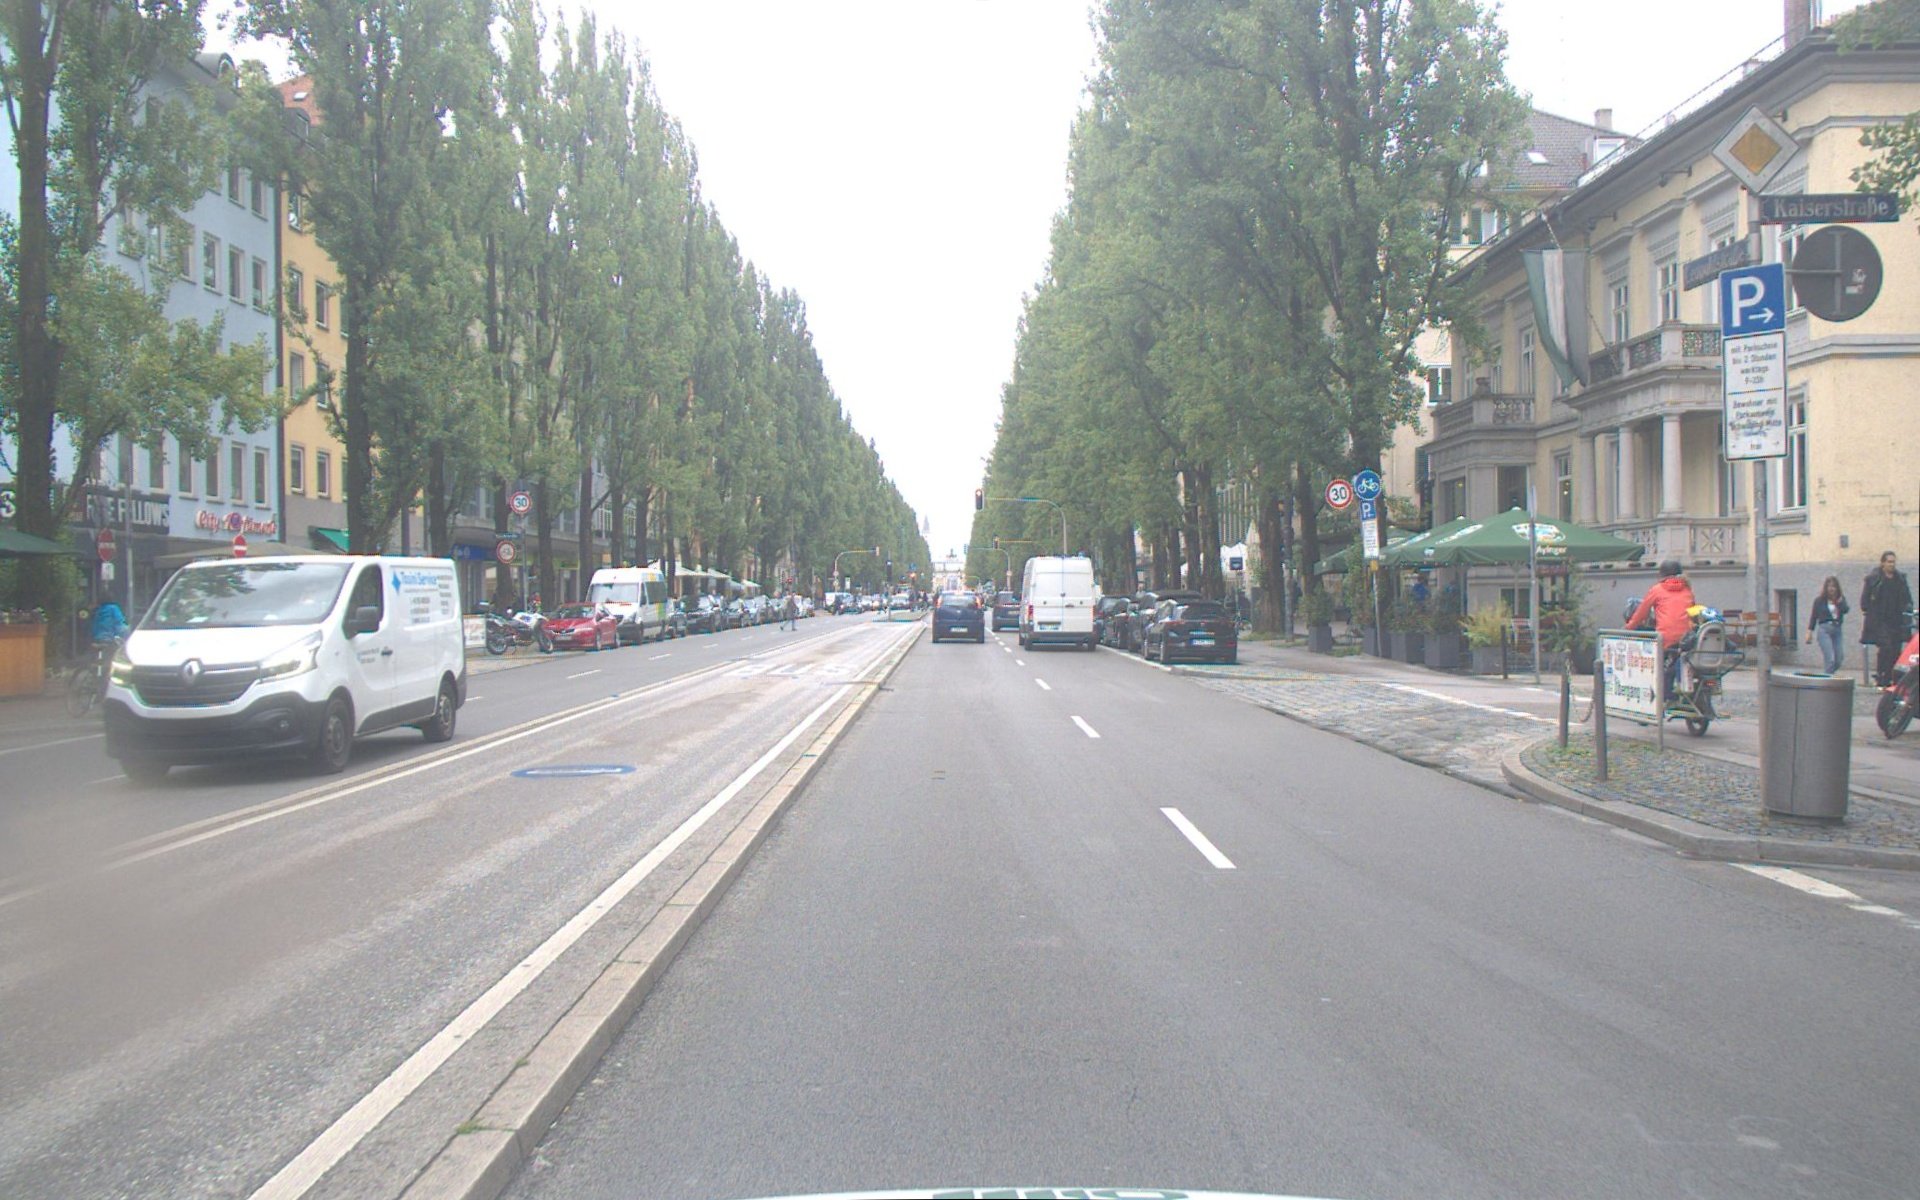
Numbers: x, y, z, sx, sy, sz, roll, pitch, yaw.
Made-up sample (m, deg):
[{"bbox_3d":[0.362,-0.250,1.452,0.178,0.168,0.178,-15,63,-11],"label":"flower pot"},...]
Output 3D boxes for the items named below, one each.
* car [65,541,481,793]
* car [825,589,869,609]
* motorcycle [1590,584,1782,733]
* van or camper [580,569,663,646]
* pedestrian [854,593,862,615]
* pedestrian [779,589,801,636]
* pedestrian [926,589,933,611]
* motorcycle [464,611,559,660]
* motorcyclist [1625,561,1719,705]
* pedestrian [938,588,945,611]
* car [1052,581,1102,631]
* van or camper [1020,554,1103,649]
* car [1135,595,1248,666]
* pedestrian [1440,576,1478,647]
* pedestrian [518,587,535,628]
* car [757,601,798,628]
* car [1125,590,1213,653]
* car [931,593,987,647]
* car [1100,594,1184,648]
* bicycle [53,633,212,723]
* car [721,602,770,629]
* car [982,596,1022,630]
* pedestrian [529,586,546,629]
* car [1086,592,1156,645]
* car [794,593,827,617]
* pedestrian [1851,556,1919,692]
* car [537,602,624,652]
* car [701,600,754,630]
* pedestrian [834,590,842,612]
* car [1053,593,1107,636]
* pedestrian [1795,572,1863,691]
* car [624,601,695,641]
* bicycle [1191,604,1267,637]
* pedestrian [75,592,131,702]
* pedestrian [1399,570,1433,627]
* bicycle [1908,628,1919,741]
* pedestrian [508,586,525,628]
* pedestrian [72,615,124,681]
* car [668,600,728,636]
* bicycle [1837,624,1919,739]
[{"bbox_3d":[-6.353,0.566,16.041,1.953,1.967,4.917,-3,0,-1],"label":"car"},{"bbox_3d":[-10.362,-0.090,151.303,3.913,1.775,1.996,0,-1,-9],"label":"car"},{"bbox_3d":[7.373,0.556,16.943,0.810,1.394,2.250,-2,0,-4],"label":"motorcycle"},{"bbox_3d":[-11.468,0.230,56.306,1.953,2.501,4.250,-1,0,-1],"label":"van or camper"},{"bbox_3d":[-7.972,0.325,129.375,0.542,1.746,0.493,-2,0,0],"label":"pedestrian"},{"bbox_3d":[-7.533,0.542,73.315,0.792,2.049,0.720,-1,0,6],"label":"pedestrian"},{"bbox_3d":[-2.397,0.004,130.044,0.542,1.746,0.493,-2,0,0],"label":"pedestrian"},{"bbox_3d":[-11.668,0.911,43.260,1.212,1.160,3.719,-1,0,4],"label":"motorcycle"},{"bbox_3d":[7.314,0.332,17.015,0.553,1.431,0.765,-2,0,-4],"label":"motorcyclist"},{"bbox_3d":[-1.483,-0.042,131.241,0.542,1.746,0.493,-2,0,0],"label":"pedestrian"},{"bbox_3d":[4.941,0.266,70.321,1.768,2.027,3.999,0,-1,-1],"label":"car"},{"bbox_3d":[2.791,0.076,46.459,1.993,2.519,3.999,-1,-1,-1],"label":"van or camper"},{"bbox_3d":[5.257,0.648,38.008,1.904,1.493,3.999,-1,0,-2],"label":"car"},{"bbox_3d":[13.439,0.296,44.571,0.745,1.886,0.740,-1,0,-4],"label":"pedestrian"},{"bbox_3d":[-20.241,0.355,77.245,0.570,1.889,0.675,-1,0,-1],"label":"pedestrian"},{"bbox_3d":[-10.943,0.860,99.300,1.891,1.512,4.110,-2,0,1],"label":"car"},{"bbox_3d":[5.468,0.533,43.668,1.748,1.551,3.940,-1,0,-1],"label":"car"},{"bbox_3d":[-0.023,0.634,52.718,1.723,1.648,3.746,0,-1,0],"label":"car"},{"bbox_3d":[5.283,0.606,48.386,1.953,1.490,3.999,0,-1,-1],"label":"car"},{"bbox_3d":[-11.372,1.062,22.765,1.821,1.156,0.674,-1,0,-3],"label":"bicycle"},{"bbox_3d":[-11.562,0.831,89.450,1.952,1.445,4.001,0,-1,3],"label":"car"},{"bbox_3d":[1.696,0.527,67.786,1.473,1.336,3.282,-1,0,-1],"label":"car"},{"bbox_3d":[-18.898,0.324,73.928,0.570,1.889,0.675,-1,0,-1],"label":"pedestrian"},{"bbox_3d":[5.102,0.589,52.787,1.768,1.624,3.999,0,-1,-1],"label":"car"},{"bbox_3d":[-10.661,0.354,118.448,1.779,1.558,3.799,-4,-1,2],"label":"car"},{"bbox_3d":[13.241,0.337,23.611,0.686,1.905,0.766,0,-1,8],"label":"pedestrian"},{"bbox_3d":[-11.559,0.812,50.599,1.759,1.454,3.999,0,-1,-1],"label":"car"},{"bbox_3d":[-11.766,0.764,83.883,1.952,1.445,4.001,0,-1,3],"label":"car"},{"bbox_3d":[-9.652,0.097,131.022,0.542,1.746,0.493,-2,0,0],"label":"pedestrian"},{"bbox_3d":[4.630,0.567,64.295,1.727,1.624,3.999,0,-1,-1],"label":"car"},{"bbox_3d":[12.406,0.447,23.623,0.634,1.675,0.766,0,-1,8],"label":"pedestrian"},{"bbox_3d":[-11.534,0.801,63.756,1.952,1.501,4.000,0,-1,0],"label":"car"},{"bbox_3d":[8.697,0.648,53.664,0.753,1.041,2.700,-1,0,-35],"label":"bicycle"},{"bbox_3d":[-14.331,0.777,27.672,0.654,1.818,0.826,1,-1,-17],"label":"pedestrian"},{"bbox_3d":[14.532,-0.039,52.716,0.798,1.786,0.931,-2,0,31],"label":"pedestrian"},{"bbox_3d":[9.893,0.769,15.423,2.023,1.041,0.687,-1,0,-20],"label":"bicycle"},{"bbox_3d":[-20.007,0.326,74.672,0.570,1.889,0.675,-1,0,-1],"label":"pedestrian"},{"bbox_3d":[-21.158,1.163,40.615,0.778,1.569,0.898,-1,0,-1],"label":"pedestrian"},{"bbox_3d":[-11.463,0.792,72.581,1.952,1.512,4.000,0,-1,1],"label":"car"},{"bbox_3d":[9.634,0.781,16.591,2.038,1.041,0.682,-1,0,-37],"label":"bicycle"}]
